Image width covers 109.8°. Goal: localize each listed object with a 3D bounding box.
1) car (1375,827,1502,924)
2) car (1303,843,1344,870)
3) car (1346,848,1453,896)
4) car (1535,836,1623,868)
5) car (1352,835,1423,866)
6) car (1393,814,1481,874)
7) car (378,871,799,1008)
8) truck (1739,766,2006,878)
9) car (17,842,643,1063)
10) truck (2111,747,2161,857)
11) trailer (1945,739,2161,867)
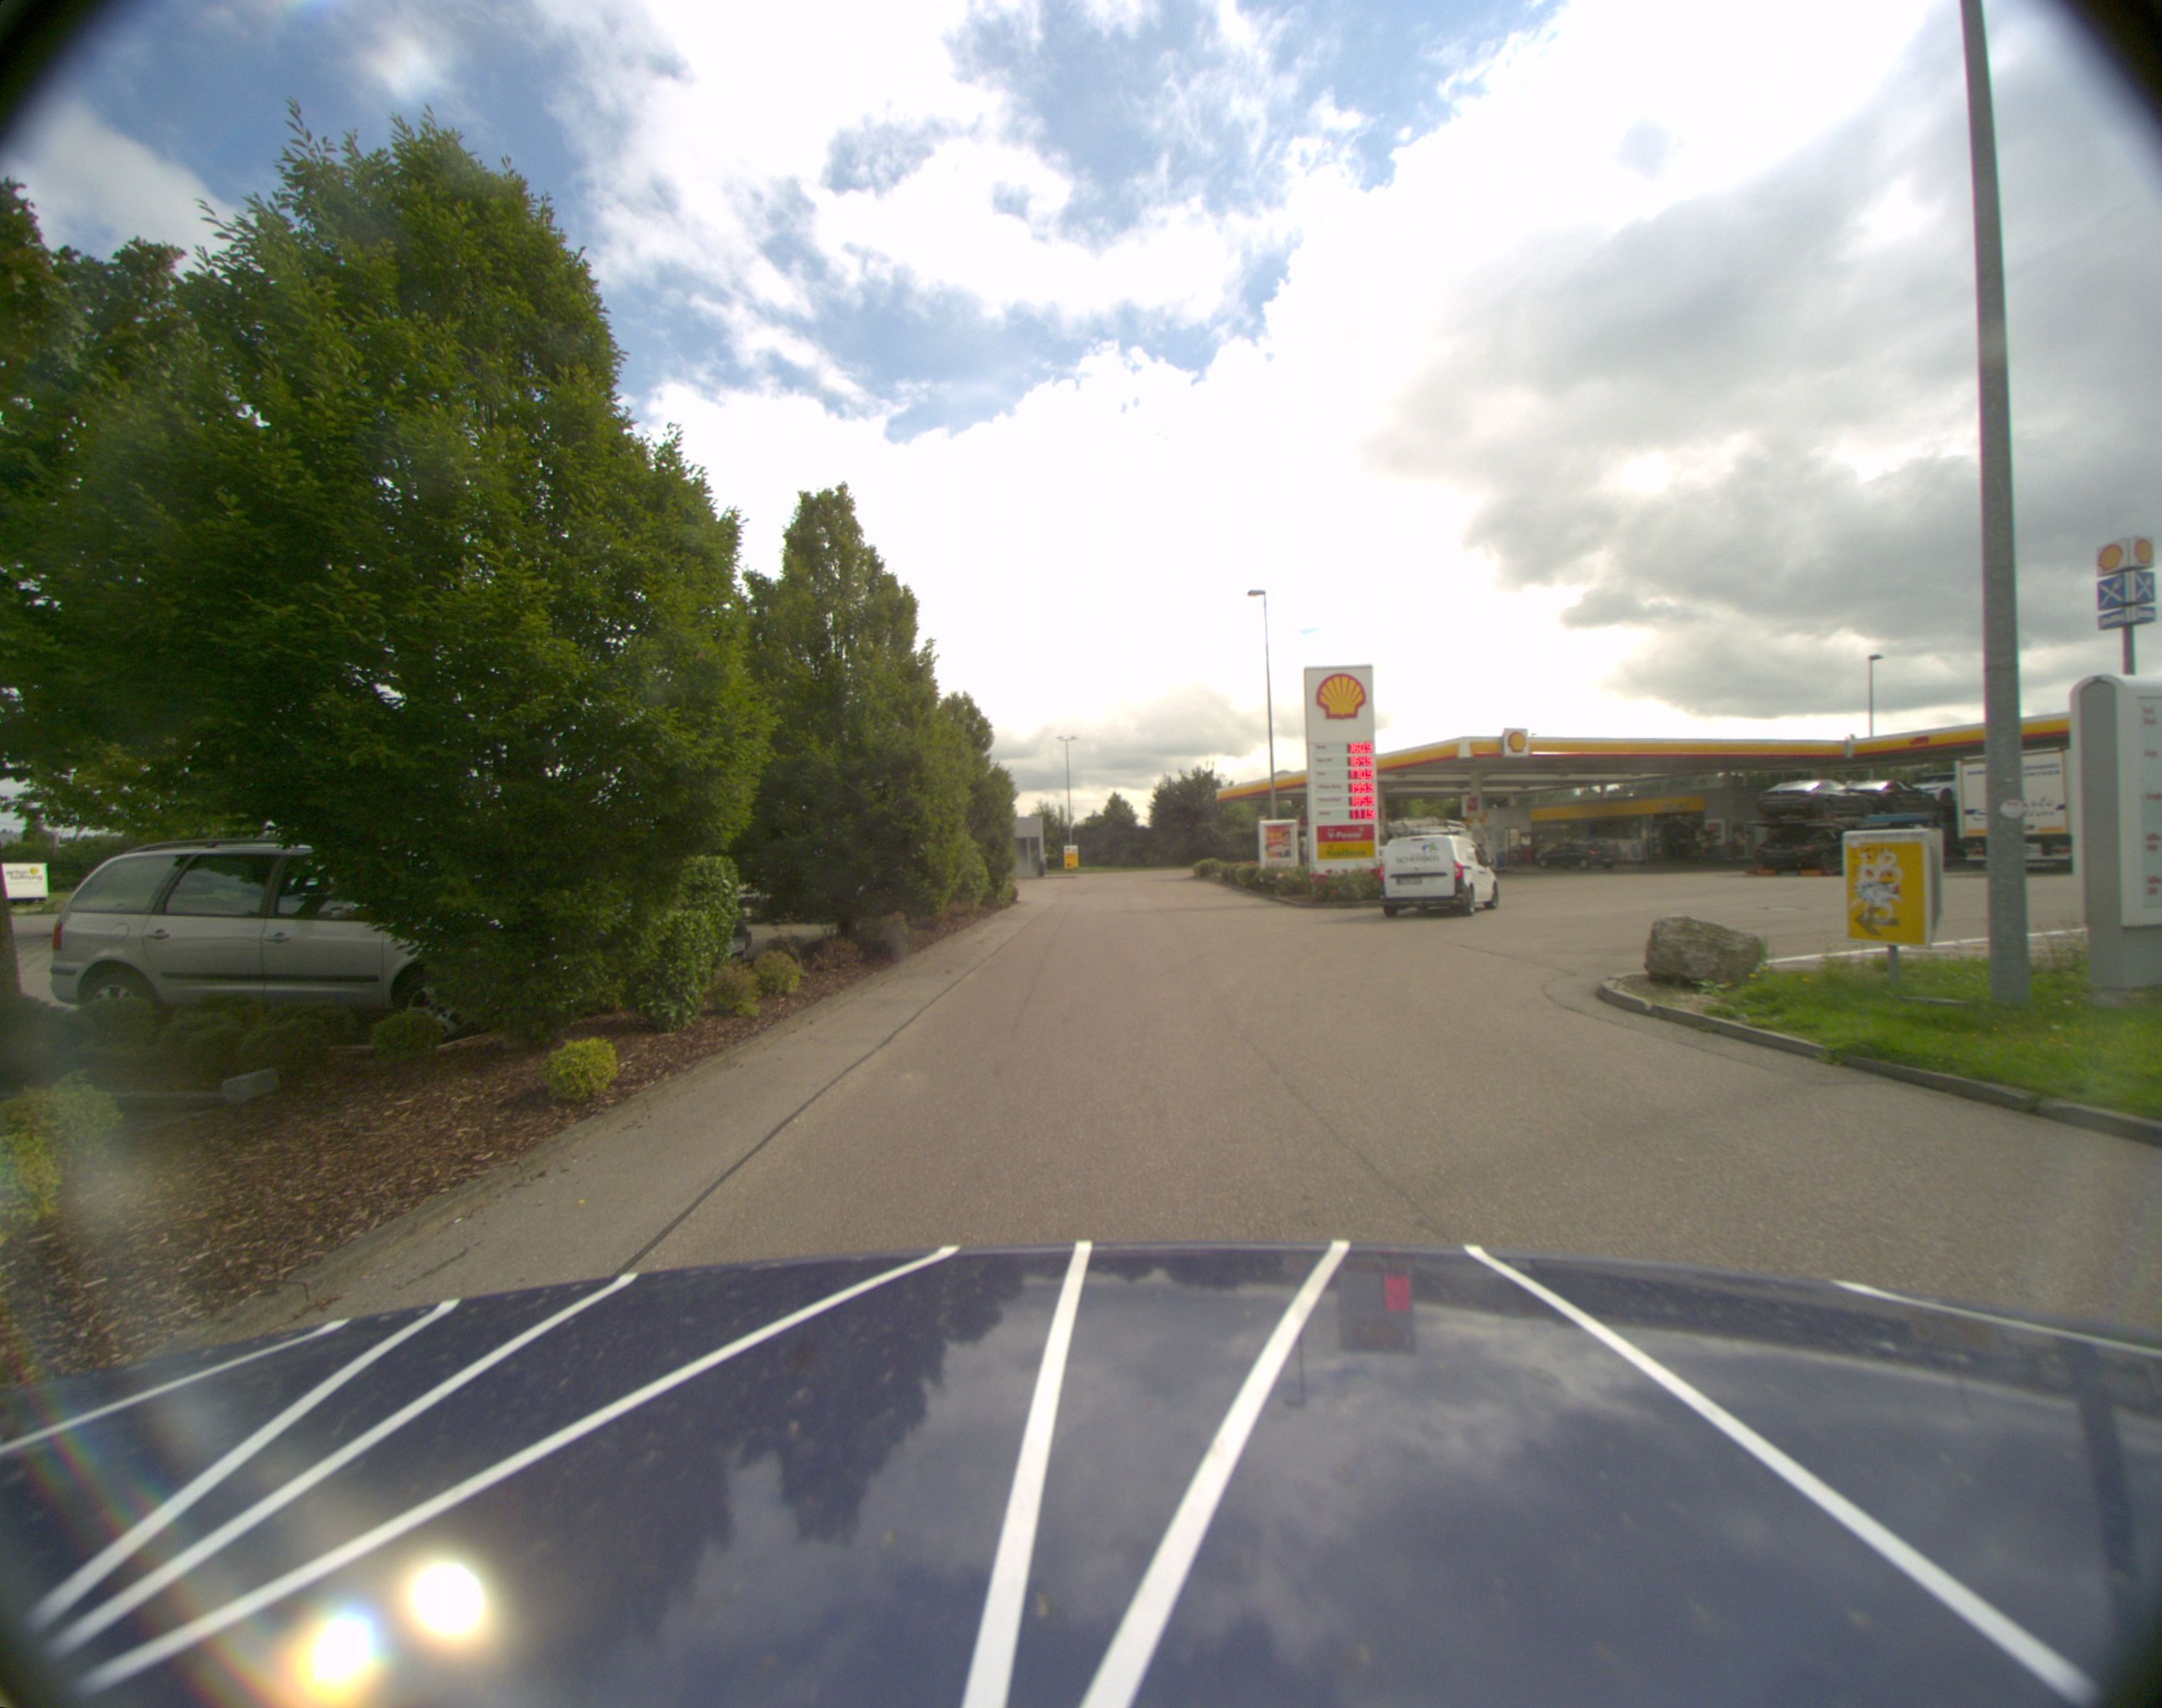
[{"bbox_3d":[8.396,0.449,17.680,1.791,2.000,3.889,-2,0,38],"label":"car"},{"bbox_3d":[15.264,0.146,47.787,1.846,1.564,4.007,-2,0,26],"label":"car"},{"bbox_3d":[11.222,0.605,27.007,1.580,1.538,3.718,-2,0,-13],"label":"car"},{"bbox_3d":[26.530,-0.076,40.615,1.717,1.592,3.757,-2,0,-15],"label":"car"},{"bbox_3d":[16.740,-0.223,41.416,3.968,1.550,1.995,-2,0,-42],"label":"car"},{"bbox_3d":[17.837,-0.501,37.908,2.218,2.770,5.820,-2,0,43],"label":"car"},{"bbox_3d":[-5.798,0.972,9.299,3.997,1.342,1.726,-2,0,1],"label":"car"},{"bbox_3d":[31.791,-1.363,30.299,13.272,3.901,2.747,-2,1,-23],"label":"truck"},{"bbox_3d":[-6.714,0.839,7.054,4.359,1.706,1.658,-2,0,5],"label":"car"},{"bbox_3d":[42.712,-2.015,28.289,7.172,4.001,2.709,-2,0,-15],"label":"truck"},{"bbox_3d":[36.500,-1.785,26.634,12.854,4.001,2.709,-2,0,-15],"label":"trailer"}]
